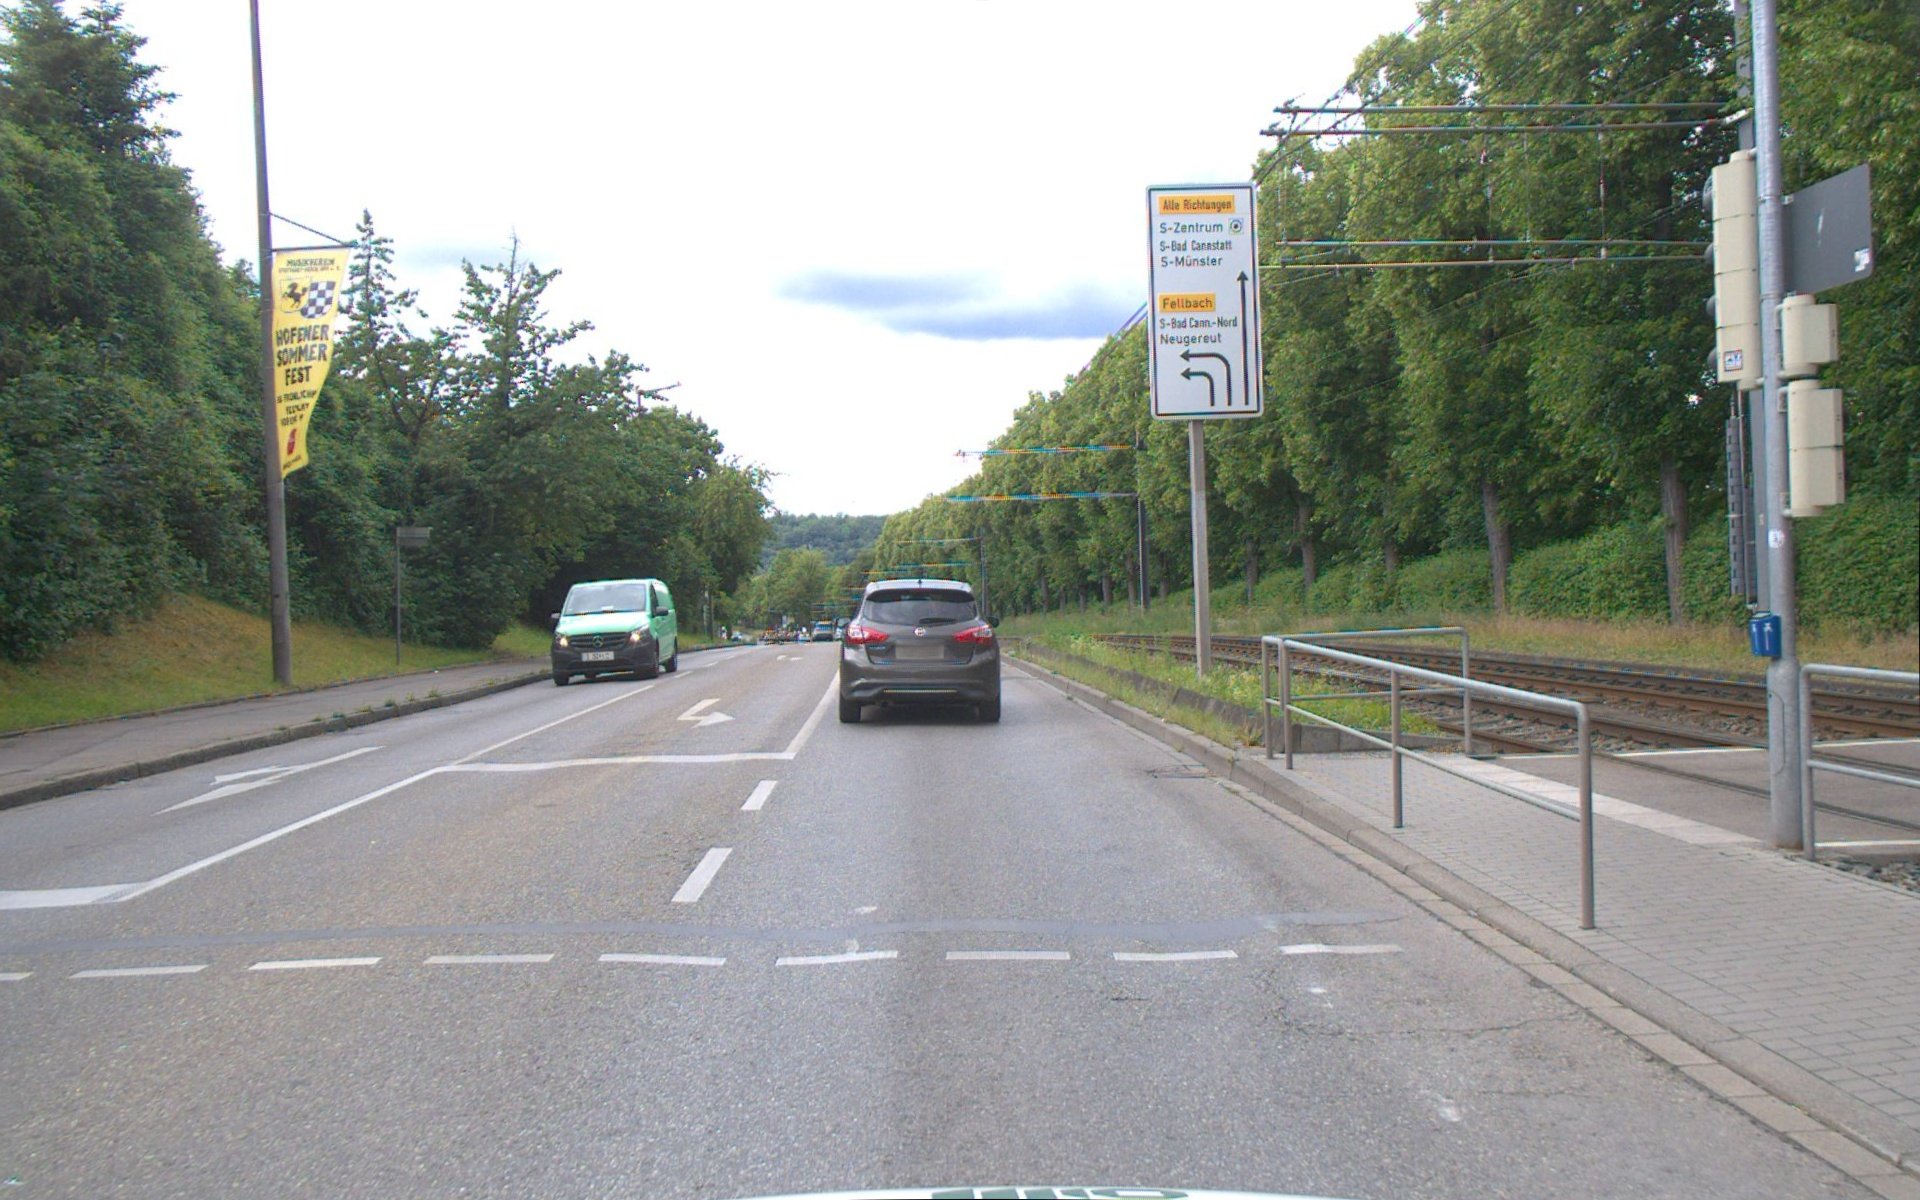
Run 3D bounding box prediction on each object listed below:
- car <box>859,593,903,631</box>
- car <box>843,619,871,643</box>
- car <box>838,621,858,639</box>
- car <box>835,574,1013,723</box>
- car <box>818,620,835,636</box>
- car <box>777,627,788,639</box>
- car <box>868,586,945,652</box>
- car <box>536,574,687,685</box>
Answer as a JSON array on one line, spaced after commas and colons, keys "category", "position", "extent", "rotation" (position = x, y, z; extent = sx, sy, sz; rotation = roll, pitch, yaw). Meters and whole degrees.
[{"category": "car", "position": [-3.350, 0.523, 69.523], "extent": [1.667, 1.469, 3.995], "rotation": [-1, -2, -5]}, {"category": "car", "position": [-6.578, 1.987, 104.953], "extent": [1.667, 1.469, 3.995], "rotation": [-1, -2, -5]}, {"category": "car", "position": [-10.434, 2.792, 153.892], "extent": [1.759, 1.537, 3.995], "rotation": [-1, -2, -5]}, {"category": "car", "position": [-0.421, 0.481, 18.961], "extent": [1.813, 1.519, 3.999], "rotation": [0, 1, -2]}, {"category": "car", "position": [-14.108, 2.961, 174.408], "extent": [1.759, 1.537, 3.995], "rotation": [-1, -2, -5]}, {"category": "car", "position": [-27.591, 5.091, 257.211], "extent": [1.667, 1.744, 3.995], "rotation": [-1, -2, -5]}, {"category": "car", "position": [-1.331, 0.491, 39.755], "extent": [1.666, 1.469, 3.996], "rotation": [-1, -2, -4]}, {"category": "car", "position": [-6.555, 0.509, 31.615], "extent": [2.018, 1.841, 4.726], "rotation": [-3, 0, -3]}]
